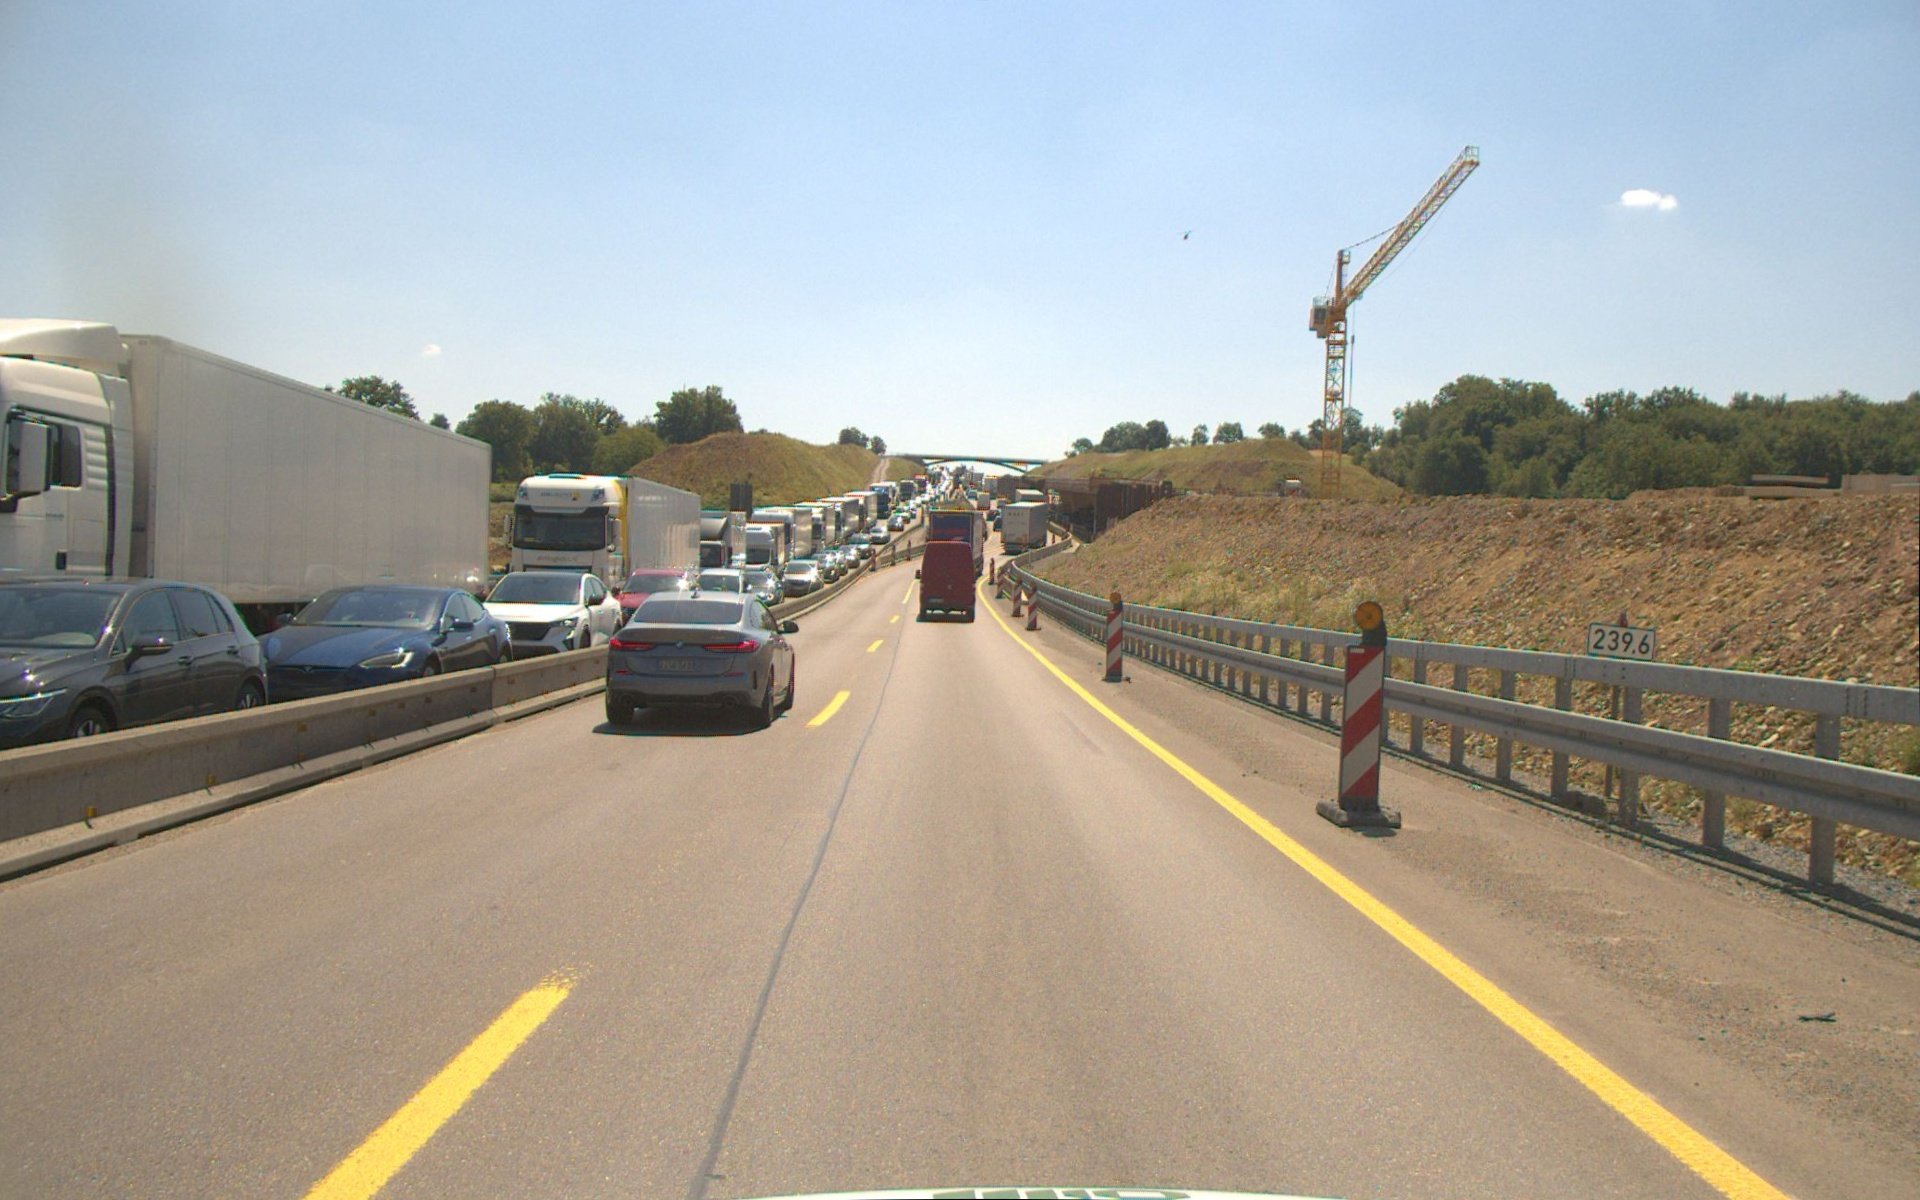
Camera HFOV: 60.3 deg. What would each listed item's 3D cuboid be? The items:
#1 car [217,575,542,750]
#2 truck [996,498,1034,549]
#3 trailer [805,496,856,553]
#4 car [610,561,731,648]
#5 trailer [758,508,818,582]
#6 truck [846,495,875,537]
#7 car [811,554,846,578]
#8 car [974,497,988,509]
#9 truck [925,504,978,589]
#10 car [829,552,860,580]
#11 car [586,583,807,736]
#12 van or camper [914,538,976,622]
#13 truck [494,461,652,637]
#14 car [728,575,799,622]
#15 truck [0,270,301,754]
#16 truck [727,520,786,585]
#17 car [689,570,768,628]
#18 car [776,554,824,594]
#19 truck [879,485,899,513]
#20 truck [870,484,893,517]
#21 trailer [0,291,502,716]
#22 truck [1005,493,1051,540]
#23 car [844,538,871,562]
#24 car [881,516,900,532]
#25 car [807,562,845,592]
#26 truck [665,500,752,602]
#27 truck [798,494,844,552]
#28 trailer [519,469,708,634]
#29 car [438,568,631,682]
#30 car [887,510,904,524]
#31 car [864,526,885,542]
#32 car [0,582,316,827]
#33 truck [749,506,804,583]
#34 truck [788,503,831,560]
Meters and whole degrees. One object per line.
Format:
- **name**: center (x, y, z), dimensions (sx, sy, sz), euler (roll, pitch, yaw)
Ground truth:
- **car**: center (-6.260, 0.566, 18.545), dimensions (1.775, 1.462, 5.122), euler (2, 3, 0)
- **truck**: center (4.764, -6.519, 142.100), dimensions (2.974, 4.172, 7.089), euler (1, 1, 5)
- **trailer**: center (-11.104, -6.467, 142.699), dimensions (2.979, 4.631, 12.132), euler (1, 2, 2)
- **car**: center (-6.403, 0.038, 37.039), dimensions (1.953, 1.659, 4.757), euler (2, 2, -2)
- **trailer**: center (-10.739, -3.459, 104.278), dimensions (2.542, 4.331, 12.468), euler (1, 2, -1)
- **truck**: center (-9.755, -8.215, 162.718), dimensions (2.629, 3.905, 7.384), euler (1, 2, -3)
- **car**: center (-8.211, -2.160, 103.853), dimensions (1.864, 1.400, 4.546), euler (-1, 2, -1)
- **car**: center (3.220, -14.934, 254.872), dimensions (1.913, 1.669, 4.267), euler (1, 0, -1)
- **truck**: center (-0.528, -3.148, 96.632), dimensions (2.959, 4.774, 6.933), euler (0, 2, -1)
- **car**: center (-7.913, -2.326, 113.872), dimensions (1.953, 1.814, 3.999), euler (1, 0, -2)
- **car**: center (-2.891, 0.580, 19.160), dimensions (1.814, 1.477, 4.742), euler (1, 1, -1)
- **van or camper**: center (-0.573, -0.752, 58.250), dimensions (1.988, 2.791, 4.514), euler (1, 2, -3)
- **truck**: center (-10.075, -1.305, 43.670), dimensions (2.917, 4.257, 5.872), euler (1, 1, -2)
- **car**: center (-6.825, -0.071, 57.922), dimensions (1.953, 1.584, 4.338), euler (1, 0, 0)
- **truck**: center (-10.013, -0.893, 17.919), dimensions (3.034, 4.270, 6.702), euler (1, 1, 0)
- **truck**: center (-10.344, -2.478, 84.584), dimensions (2.385, 3.202, 7.022), euler (1, 2, -2)
- **car**: center (-6.661, -0.047, 48.018), dimensions (1.790, 1.601, 3.999), euler (1, 1, -1)
- **car**: center (-7.368, -1.177, 76.454), dimensions (1.790, 1.679, 4.545), euler (-2, 0, -1)
- **truck**: center (-10.673, -15.151, 248.566), dimensions (2.830, 3.905, 7.999), euler (1, 2, -3)
- **truck**: center (-10.100, -12.786, 212.885), dimensions (2.830, 3.905, 7.999), euler (1, 2, -3)
- **trailer**: center (-10.160, -1.169, 24.501), dimensions (3.077, 4.459, 14.076), euler (1, 1, -1)
- **truck**: center (7.833, -9.506, 191.094), dimensions (5.053, 5.083, 13.882), euler (-1, 2, 2)
- **car**: center (-7.836, -3.851, 127.067), dimensions (1.953, 1.814, 3.999), euler (1, 2, -2)
- **car**: center (-7.436, -8.149, 177.614), dimensions (1.913, 1.556, 4.267), euler (1, 2, -1)
- **car**: center (-7.512, -1.266, 93.077), dimensions (1.790, 1.562, 4.545), euler (2, 0, -1)
- **truck**: center (-10.381, -2.020, 68.967), dimensions (2.474, 3.922, 8.670), euler (1, 1, -2)
- **truck**: center (-11.370, -6.287, 135.989), dimensions (2.989, 4.558, 5.983), euler (1, 2, 2)
- **trailer**: center (-10.155, -1.412, 50.427), dimensions (2.925, 4.281, 13.945), euler (1, 1, -1)
- **car**: center (-6.694, 0.345, 26.575), dimensions (1.953, 1.648, 4.880), euler (1, 0, -2)
- **car**: center (-7.695, -9.974, 197.887), dimensions (1.913, 1.556, 4.267), euler (1, 2, -1)
- **car**: center (-7.845, -6.063, 152.082), dimensions (1.711, 1.433, 4.000), euler (1, 2, -1)
- **car**: center (-6.538, 0.605, 12.268), dimensions (1.795, 1.448, 4.682), euler (1, 1, -2)
- **truck**: center (-10.645, -3.258, 96.411), dimensions (2.499, 4.304, 6.530), euler (1, 2, -1)
- **truck**: center (-10.891, -4.899, 119.825), dimensions (2.726, 3.937, 5.459), euler (1, 0, -2)
